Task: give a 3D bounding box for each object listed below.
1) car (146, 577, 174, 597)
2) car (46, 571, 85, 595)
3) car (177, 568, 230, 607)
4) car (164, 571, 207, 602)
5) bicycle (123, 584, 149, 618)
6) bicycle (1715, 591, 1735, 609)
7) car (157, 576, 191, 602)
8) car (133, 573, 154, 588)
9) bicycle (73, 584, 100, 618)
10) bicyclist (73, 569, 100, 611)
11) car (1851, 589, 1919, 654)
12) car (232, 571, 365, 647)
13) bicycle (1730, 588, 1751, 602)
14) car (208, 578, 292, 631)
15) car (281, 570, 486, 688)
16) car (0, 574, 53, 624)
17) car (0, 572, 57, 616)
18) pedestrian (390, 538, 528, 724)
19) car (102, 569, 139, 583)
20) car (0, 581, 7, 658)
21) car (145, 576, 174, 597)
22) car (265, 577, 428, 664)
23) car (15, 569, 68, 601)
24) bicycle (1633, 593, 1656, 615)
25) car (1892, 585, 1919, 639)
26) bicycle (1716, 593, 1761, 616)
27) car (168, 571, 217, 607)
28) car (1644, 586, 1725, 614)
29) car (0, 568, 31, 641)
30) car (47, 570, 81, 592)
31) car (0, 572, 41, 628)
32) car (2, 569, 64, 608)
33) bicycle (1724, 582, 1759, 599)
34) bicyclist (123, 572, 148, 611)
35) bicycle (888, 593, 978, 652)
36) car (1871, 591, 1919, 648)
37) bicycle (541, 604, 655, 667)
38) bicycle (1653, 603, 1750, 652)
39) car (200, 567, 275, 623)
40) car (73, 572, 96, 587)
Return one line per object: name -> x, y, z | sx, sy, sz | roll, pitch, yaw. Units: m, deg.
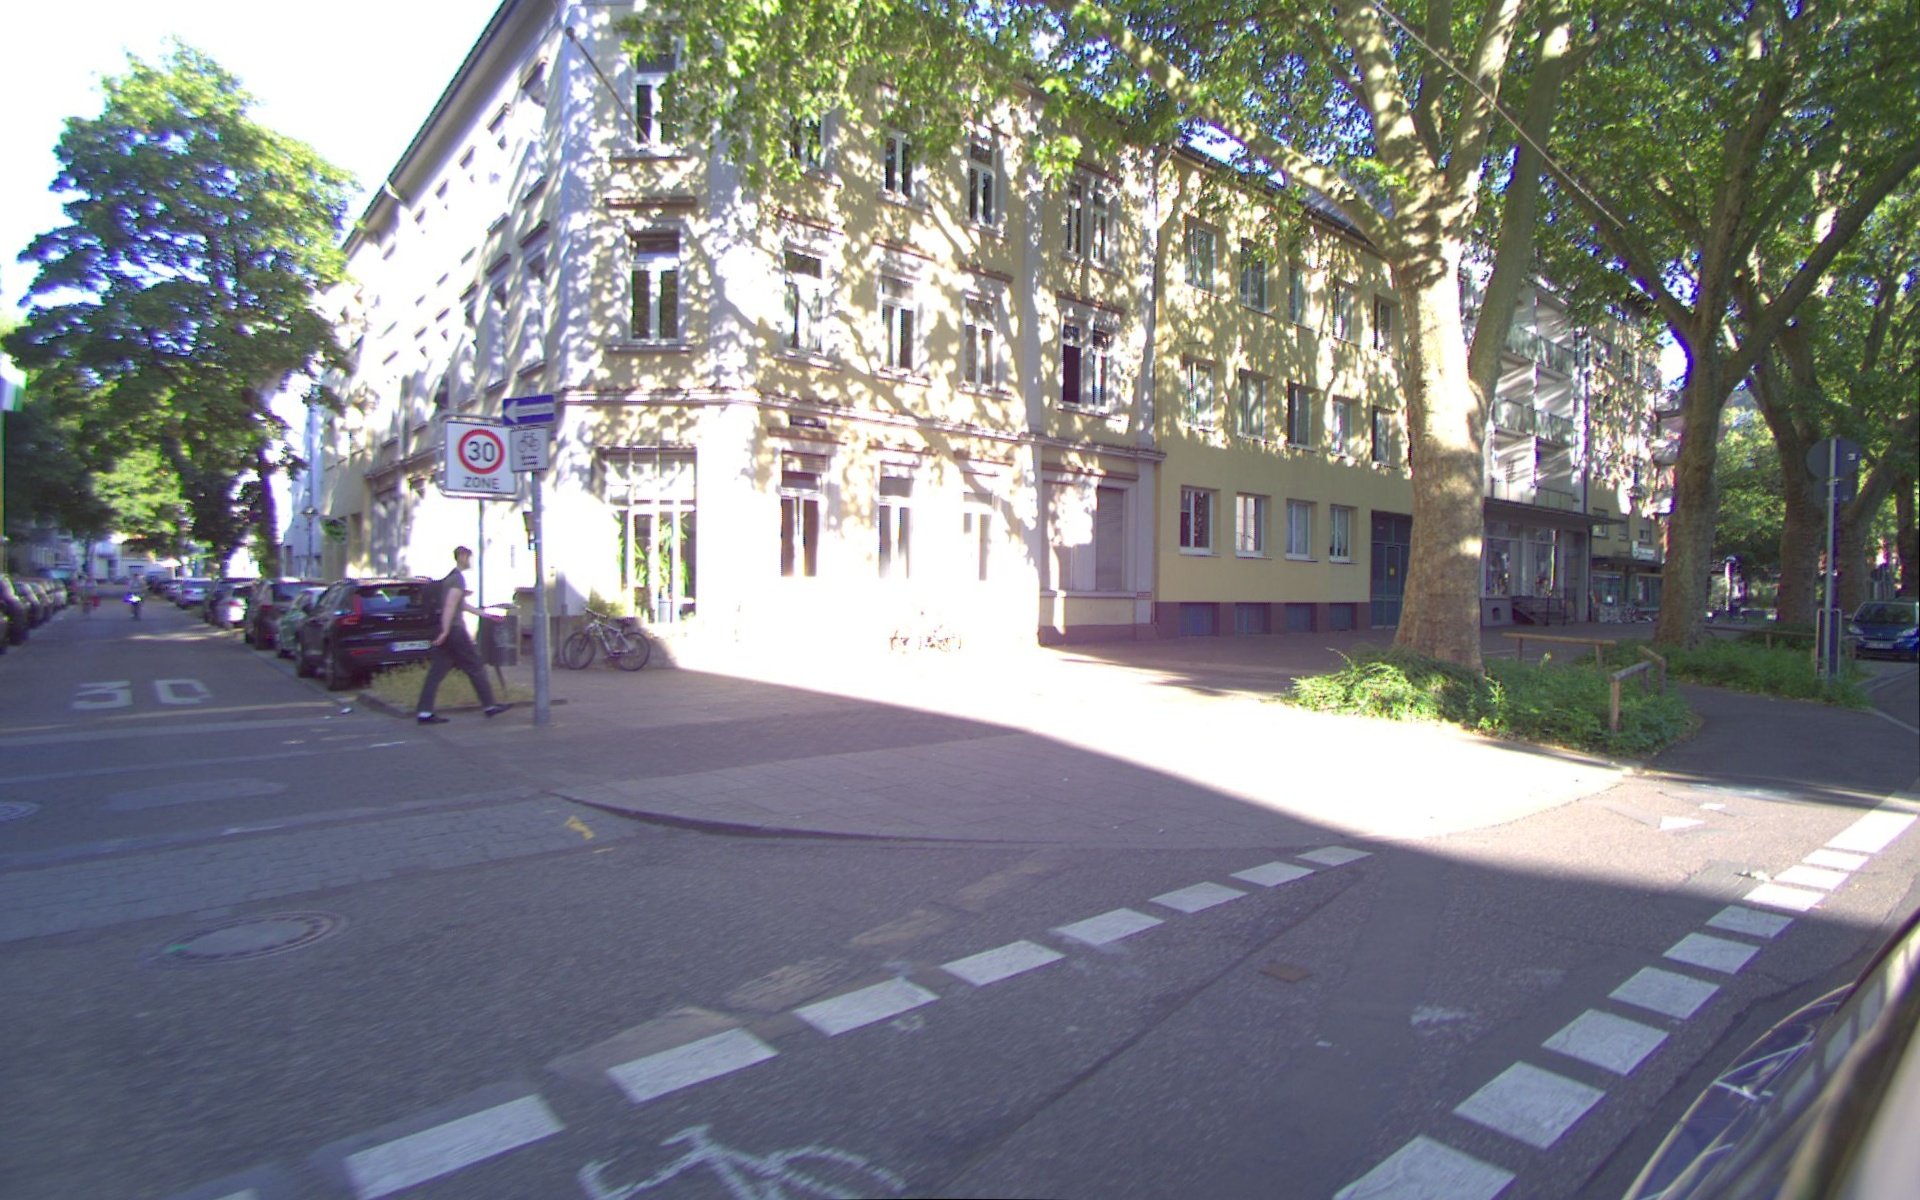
car -> -76.549, -1.249, 96.890 | 1.963, 1.813, 4.142 | 3, -1, -38
car -> -65.048, -1.253, 73.578 | 1.966, 1.627, 4.136 | 3, -1, -43
car -> -37.502, -0.611, 50.170 | 1.963, 1.813, 4.142 | 3, -1, -38
car -> -47.754, -0.824, 62.418 | 1.963, 1.813, 4.142 | 3, -1, -38
bicycle -> -30.466, 0.018, 37.402 | 0.732, 1.171, 1.795 | 0, 3, -39
bicycle -> 50.127, 0.002, 66.331 | 1.666, 1.171, 0.601 | 0, 2, -38
car -> -59.988, -0.834, 77.245 | 1.963, 1.813, 4.142 | 3, -1, -38
car -> -107.191, -2.521, 132.915 | 1.963, 1.813, 4.142 | 3, -1, -38
bicycle -> -32.316, 0.028, 37.445 | 0.733, 1.171, 1.794 | 0, 3, -42
bicyclist -> -32.271, -0.368, 37.392 | 0.733, 1.520, 0.786 | 0, 2, -42
car -> 24.555, 0.519, 26.309 | 2.858, 1.537, 1.568 | -1, 3, -39
car -> -15.963, 0.194, 24.328 | 1.966, 1.657, 4.136 | 3, -1, -43
bicycle -> 66.985, -0.452, 86.826 | 1.997, 1.171, 0.709 | 0, 2, -31
car -> -22.659, 0.128, 32.229 | 1.963, 1.523, 4.142 | 3, -1, -38
car -> -9.247, 0.364, 16.087 | 1.966, 1.613, 4.136 | 0, 1, -43
car -> -33.091, -0.061, 35.352 | 1.966, 1.627, 4.136 | 3, -1, -43
car -> -36.764, -0.245, 39.636 | 1.966, 1.627, 4.136 | 3, -1, -43
pedestrian -> -5.421, 0.307, 10.965 | 1.169, 1.890, 0.767 | 0, 1, -44
car -> -121.987, -3.424, 147.093 | 4.071, 1.813, 1.997 | 3, -1, -41
car -> -19.332, 0.314, 19.018 | 1.966, 1.440, 4.136 | 3, -1, -43
car -> -73.491, -1.269, 92.979 | 1.963, 1.813, 4.142 | 3, -1, -38
car -> -12.283, 0.322, 20.149 | 1.967, 1.522, 4.136 | -2, 2, -43
car -> -49.228, -0.800, 54.224 | 1.966, 1.627, 4.136 | 3, -1, -43
bicycle -> 32.793, 0.188, 48.461 | 0.570, 1.009, 1.752 | 3, 3, 44
car -> 31.843, 0.369, 32.897 | 4.701, 1.623, 1.861 | -2, 3, -42
bicycle -> 42.838, 0.241, 55.713 | 1.781, 1.171, 0.739 | 3, 2, 28
car -> -41.273, -0.600, 54.447 | 1.963, 1.813, 4.142 | 3, -1, -38
car -> 45.815, -0.020, 64.059 | 1.833, 1.714, 3.869 | 0, 1, -40
car -> -23.293, 0.061, 23.864 | 1.966, 1.627, 4.136 | 3, -1, -43
car -> -72.738, -1.528, 82.125 | 1.966, 1.627, 4.136 | 3, -1, -43
car -> -29.618, -0.047, 31.093 | 1.966, 1.627, 4.136 | 3, -1, -43
car -> -41.950, -0.522, 45.817 | 1.966, 1.627, 4.136 | 3, -1, -43
bicycle -> 57.394, -0.673, 74.316 | 0.560, 1.171, 1.939 | 1, 2, -25
bicyclist -> -30.441, -0.320, 37.370 | 0.732, 1.418, 0.660 | 0, 2, -40
bicycle -> -0.528, 0.439, 20.717 | 1.889, 1.117, 0.583 | -1, 3, -41
car -> 27.833, 0.528, 29.338 | 4.528, 1.453, 1.818 | -2, 3, -44
bicycle -> -6.088, 0.588, 17.019 | 1.808, 1.020, 0.567 | -1, 0, 15
bicycle -> 17.862, 0.640, 24.439 | 0.500, 1.018, 1.975 | 1, 3, -15
car -> -25.629, -0.182, 35.839 | 1.963, 1.813, 4.142 | 3, -1, -38
car -> -114.780, -2.713, 132.759 | 1.963, 1.813, 4.142 | 3, -1, -38
